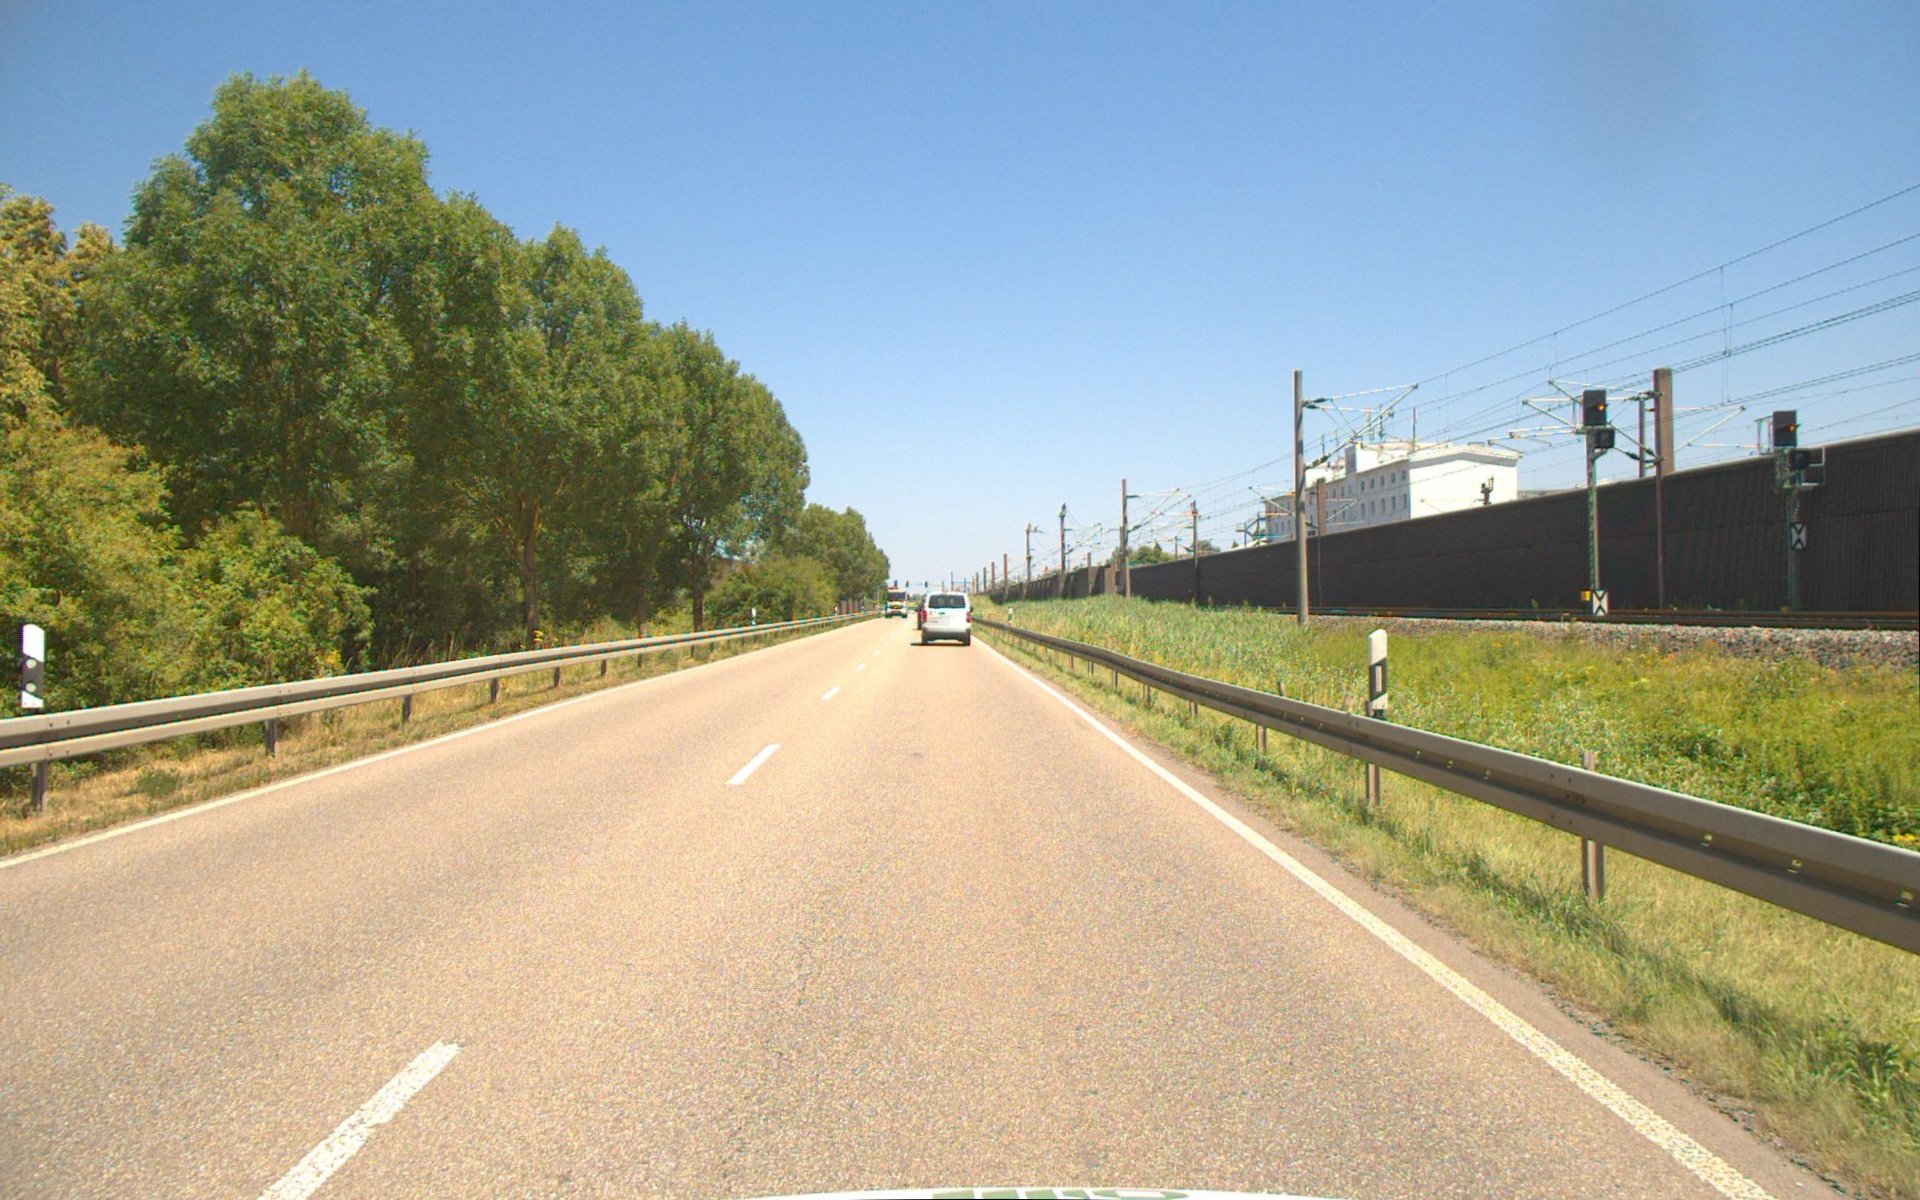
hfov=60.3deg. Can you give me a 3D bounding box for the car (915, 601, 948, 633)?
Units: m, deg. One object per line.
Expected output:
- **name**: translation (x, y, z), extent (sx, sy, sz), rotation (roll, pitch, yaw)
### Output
- **car**: translation (-1.722, 1.000, 99.728), extent (1.953, 1.882, 3.999), rotation (1, 0, -1)

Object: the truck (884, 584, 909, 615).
- **truck**: translation (-7.312, -0.015, 190.154), extent (2.727, 3.464, 7.986), rotation (1, 0, -2)

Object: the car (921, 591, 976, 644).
- **car**: translation (-0.451, 0.625, 61.835), extent (1.953, 1.882, 3.999), rotation (1, 0, -1)
